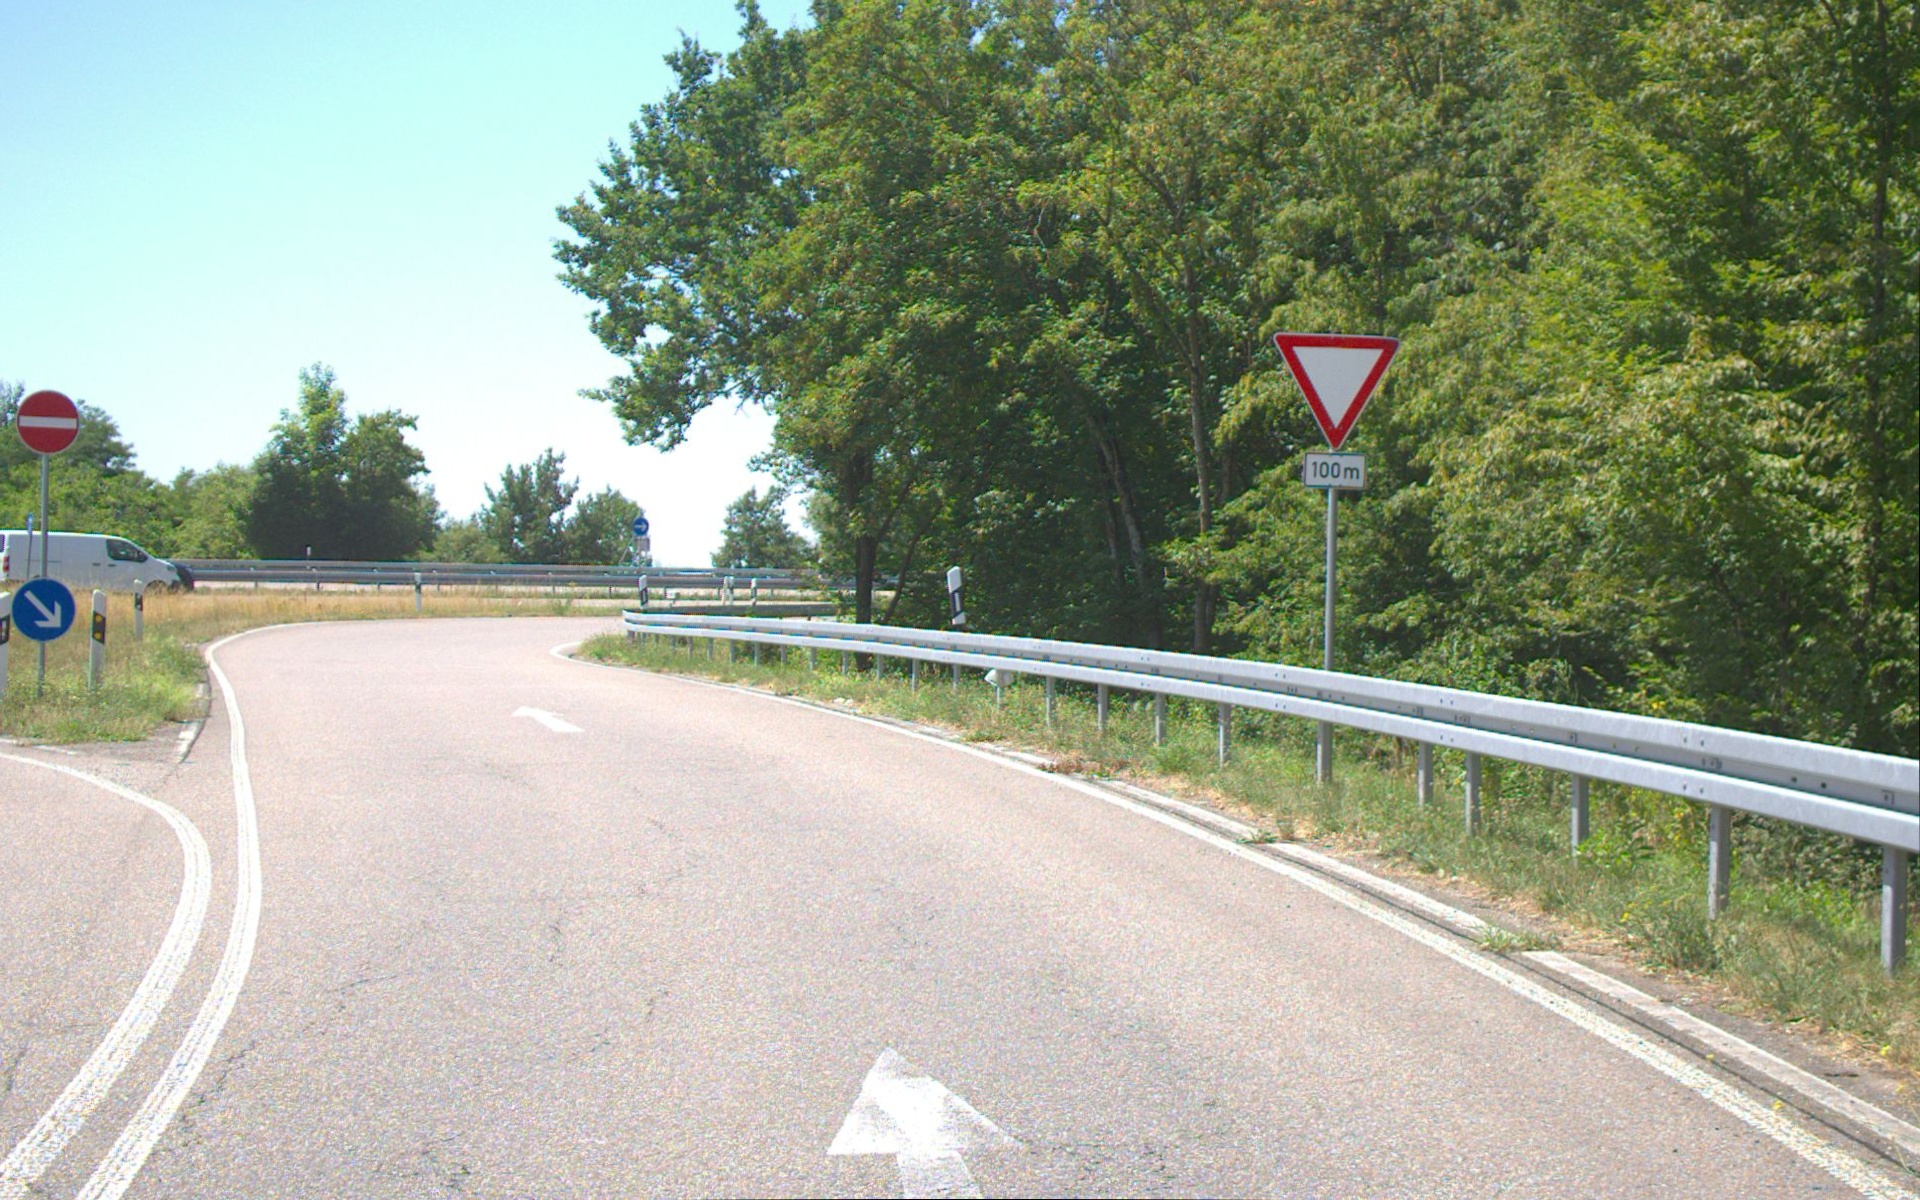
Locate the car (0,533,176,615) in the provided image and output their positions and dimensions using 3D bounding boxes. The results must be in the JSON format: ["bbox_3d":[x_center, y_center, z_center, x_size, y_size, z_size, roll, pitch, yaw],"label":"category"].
[{"bbox_3d":[-23.780,-0.678,92.408,4.804,1.921,2.000,3,-2,-35],"label":"car"}]
